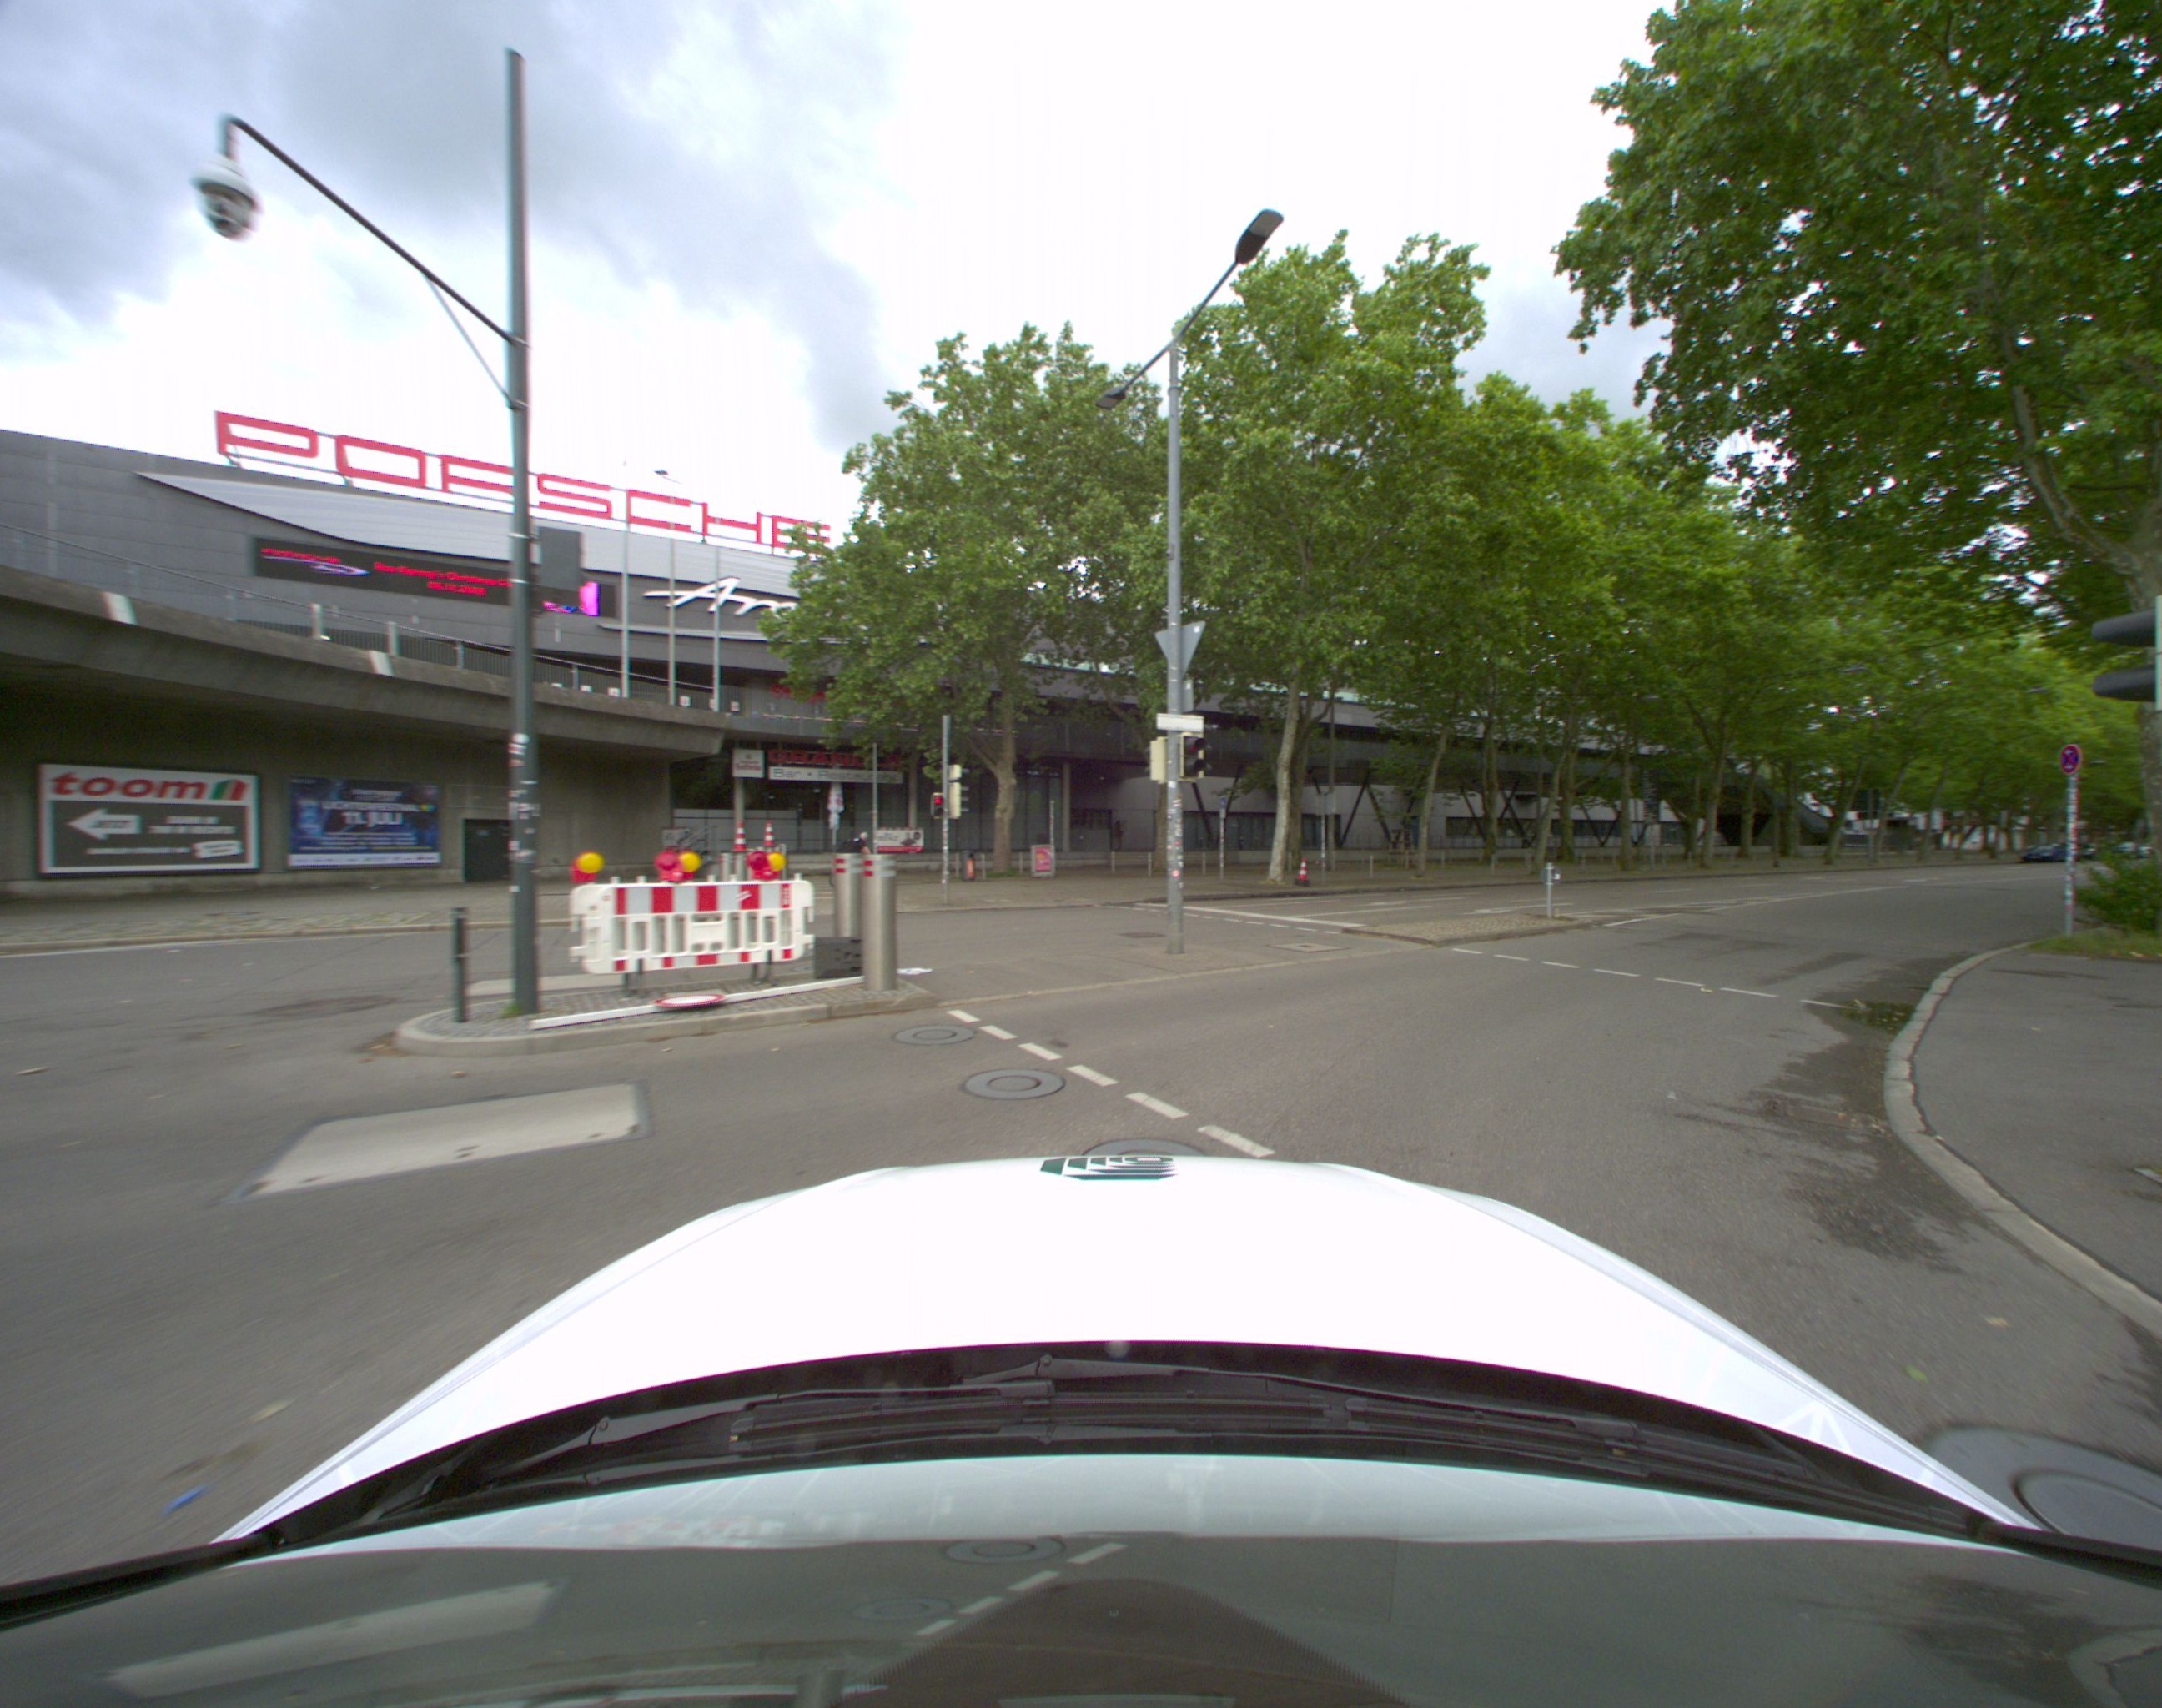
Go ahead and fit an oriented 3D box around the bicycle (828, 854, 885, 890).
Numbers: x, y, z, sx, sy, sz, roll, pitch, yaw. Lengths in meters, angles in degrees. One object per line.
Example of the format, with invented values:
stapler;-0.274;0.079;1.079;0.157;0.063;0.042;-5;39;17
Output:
bicycle;-6.660;0.538;24.169;1.542;1.013;0.512;2;-1;-30

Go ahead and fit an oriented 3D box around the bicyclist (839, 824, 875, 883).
bicyclist;-6.656;-0.013;24.182;0.857;1.698;0.759;2;-1;-30

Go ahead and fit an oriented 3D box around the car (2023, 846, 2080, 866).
car;70.507;0.162;59.168;3.766;1.419;1.687;1;-2;-24

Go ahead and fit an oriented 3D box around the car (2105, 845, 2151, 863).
car;87.808;0.013;68.323;3.771;1.419;1.755;1;-2;-29
